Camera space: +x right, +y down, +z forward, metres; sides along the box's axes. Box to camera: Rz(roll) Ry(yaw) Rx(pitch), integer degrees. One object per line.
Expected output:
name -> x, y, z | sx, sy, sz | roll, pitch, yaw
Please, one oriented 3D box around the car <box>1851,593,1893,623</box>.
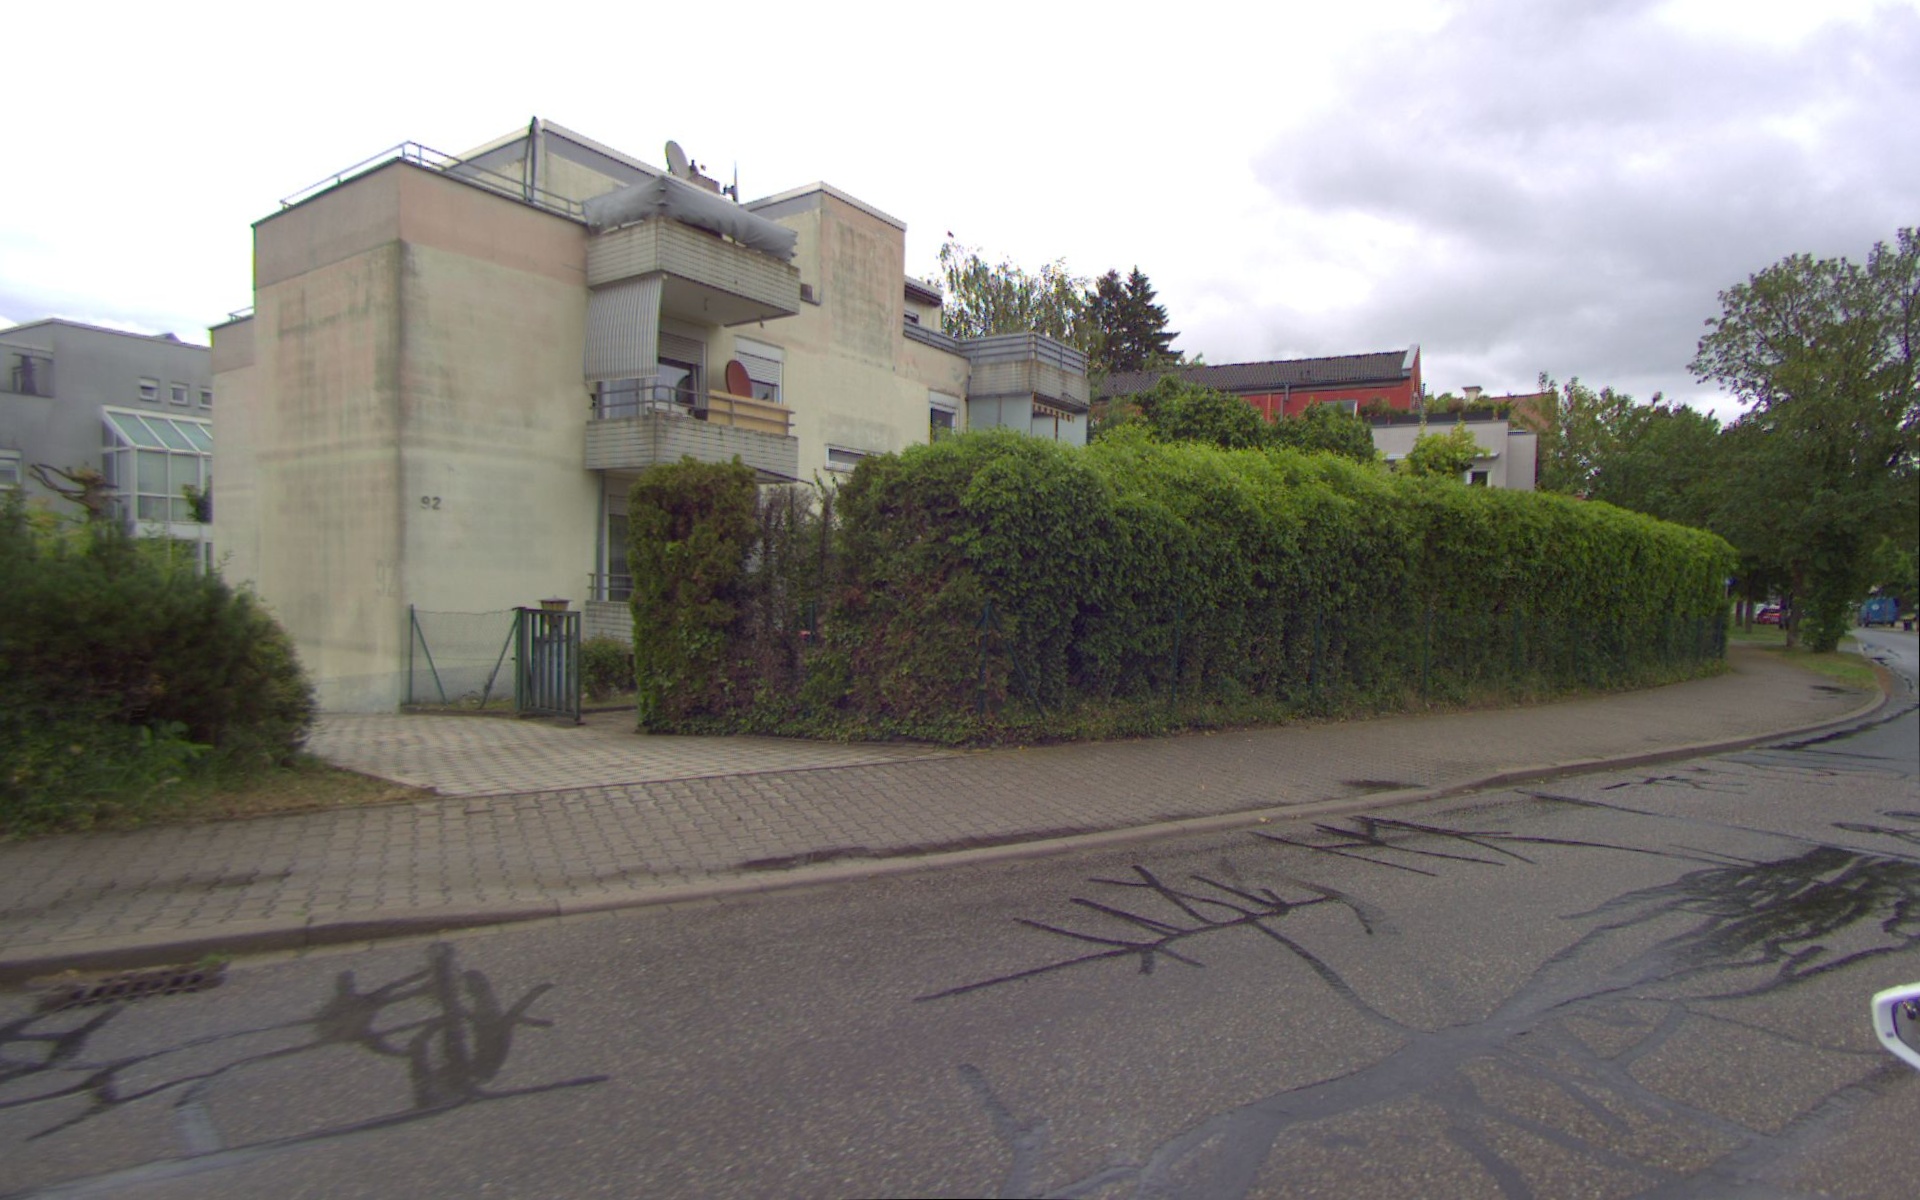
car -> 82.571, 0.683, 90.994 | 1.966, 2.621, 5.617 | 0, 1, 33
